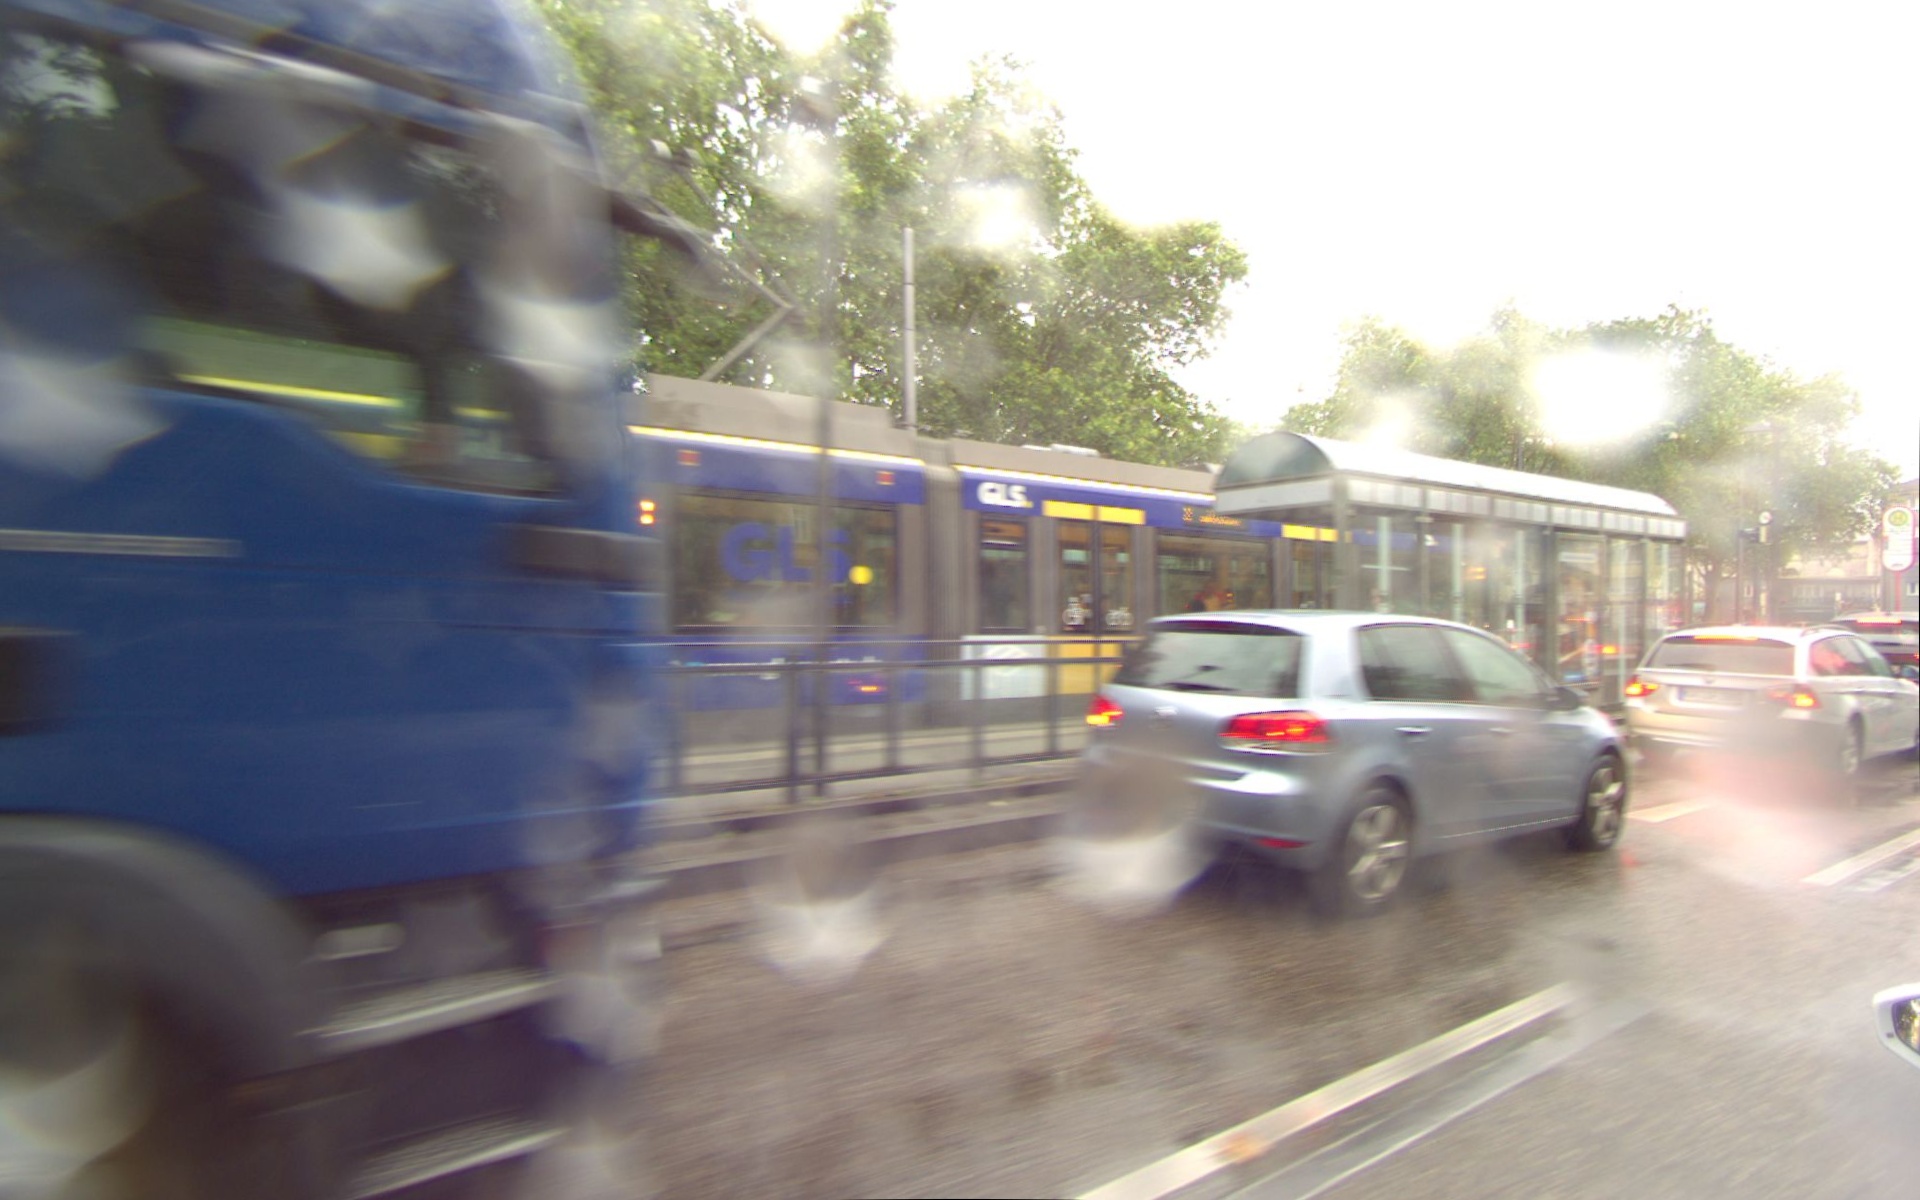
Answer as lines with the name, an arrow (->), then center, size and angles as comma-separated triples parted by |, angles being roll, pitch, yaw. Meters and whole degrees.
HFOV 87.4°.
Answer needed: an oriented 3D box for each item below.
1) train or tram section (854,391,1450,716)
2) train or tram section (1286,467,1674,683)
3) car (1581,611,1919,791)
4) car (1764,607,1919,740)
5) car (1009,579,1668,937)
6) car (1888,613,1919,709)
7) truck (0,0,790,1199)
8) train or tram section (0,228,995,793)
train or tram section -> 3.105, -0.413, 14.101 | 8.896, 3.329, 2.959 | 1, -1, -36
train or tram section -> 10.279, -0.321, 19.338 | 8.896, 3.329, 2.959 | 1, -1, -36
car -> 8.711, 0.901, 10.774 | 4.223, 1.492, 1.980 | 0, 1, -35
car -> 13.333, 0.976, 14.164 | 4.249, 1.600, 1.980 | 2, 1, -35
car -> 2.523, 0.723, 6.383 | 4.091, 1.558, 1.981 | 0, -1, -35
car -> 18.205, 1.100, 17.596 | 4.249, 1.600, 1.980 | 2, 1, -35
truck -> -2.720, -0.542, 2.069 | 3.961, 3.956, 2.563 | 1, 0, -36
train or tram section -> -3.868, -0.473, 9.037 | 8.348, 3.329, 2.959 | 1, -1, -36
